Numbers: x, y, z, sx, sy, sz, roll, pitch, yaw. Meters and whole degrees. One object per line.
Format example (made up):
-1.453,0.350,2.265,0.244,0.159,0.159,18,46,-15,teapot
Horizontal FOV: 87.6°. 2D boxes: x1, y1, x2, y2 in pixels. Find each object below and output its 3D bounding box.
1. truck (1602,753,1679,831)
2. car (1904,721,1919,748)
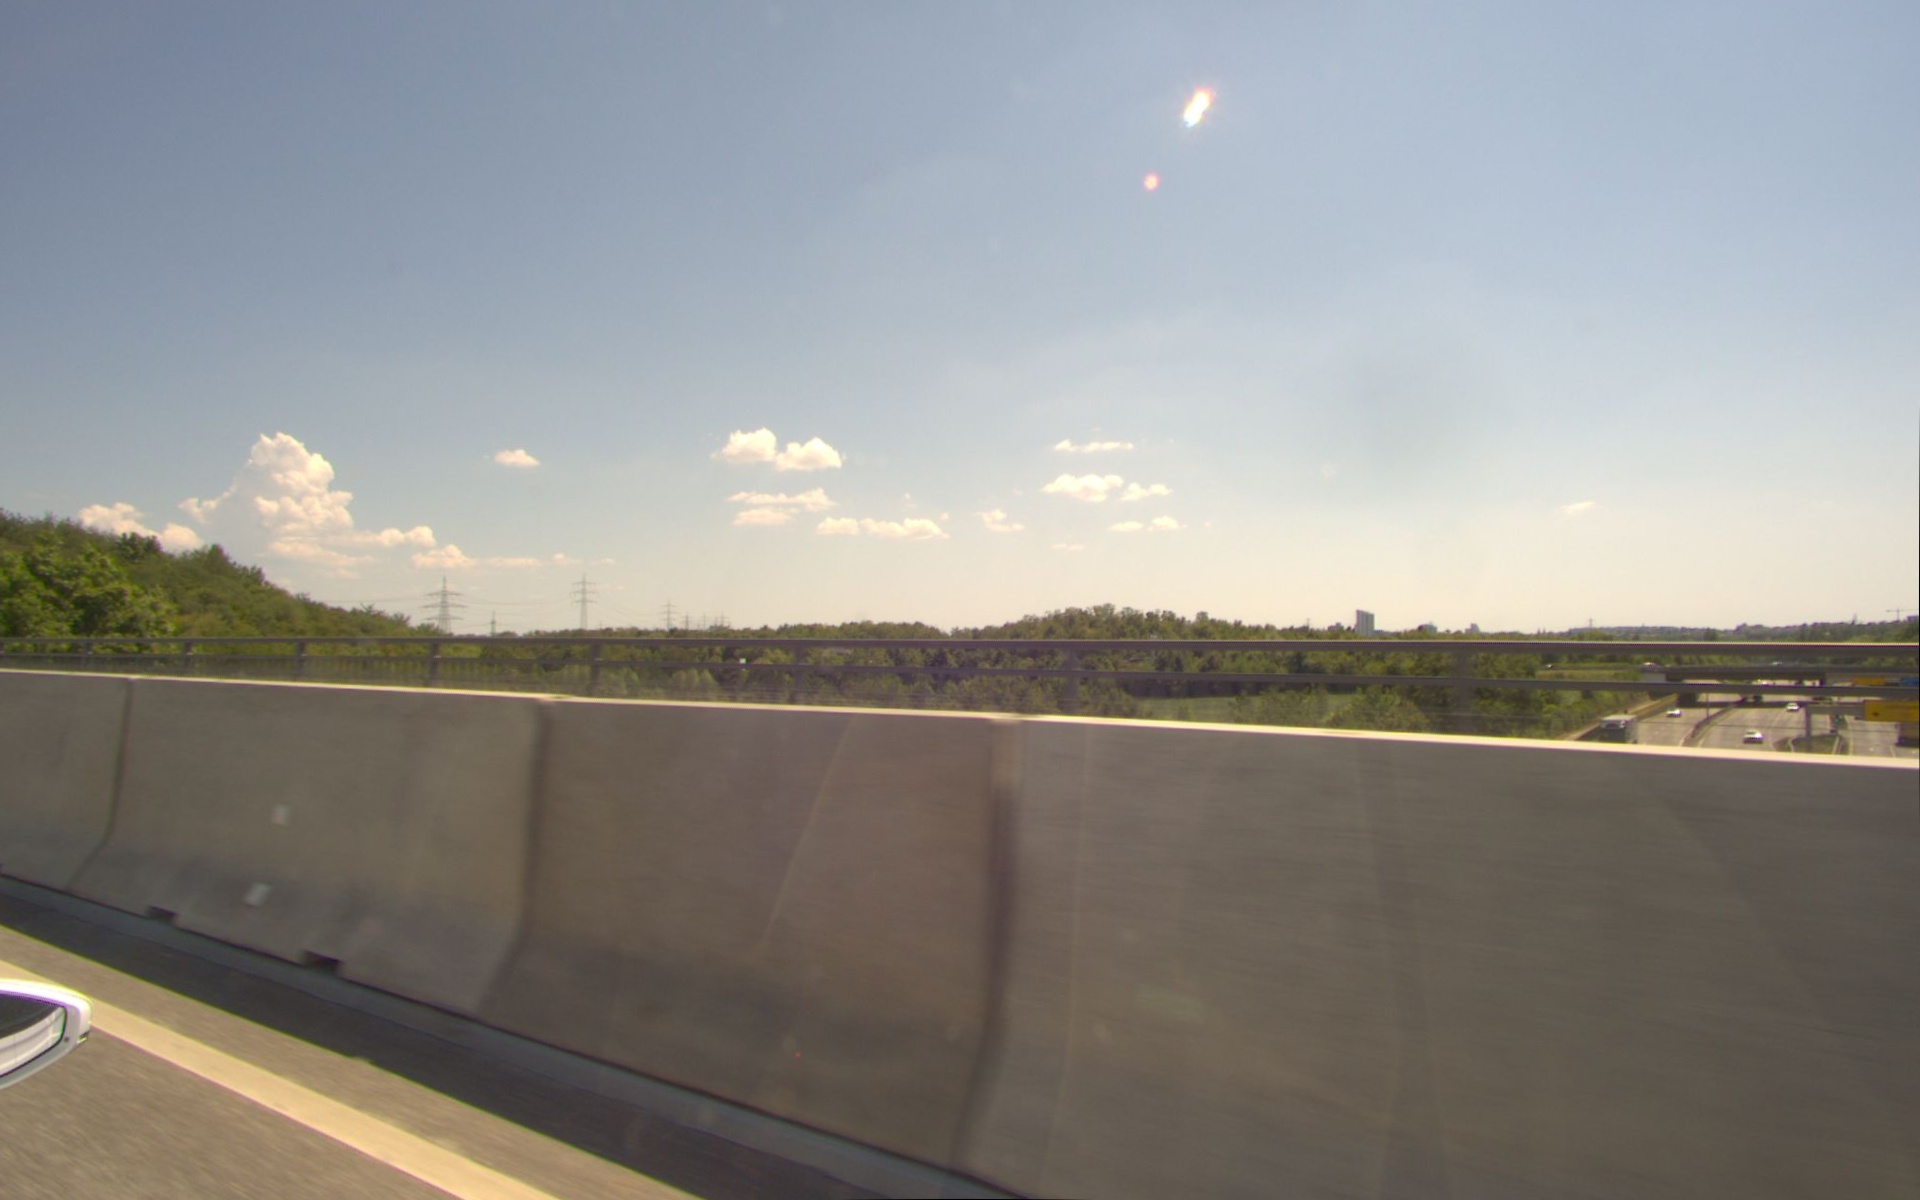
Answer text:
42.448,11.782,62.332,2.746,4.088,9.288,-2,-6,41,truck
115.581,16.202,120.288,2.890,3.116,7.327,-1,-6,41,car
